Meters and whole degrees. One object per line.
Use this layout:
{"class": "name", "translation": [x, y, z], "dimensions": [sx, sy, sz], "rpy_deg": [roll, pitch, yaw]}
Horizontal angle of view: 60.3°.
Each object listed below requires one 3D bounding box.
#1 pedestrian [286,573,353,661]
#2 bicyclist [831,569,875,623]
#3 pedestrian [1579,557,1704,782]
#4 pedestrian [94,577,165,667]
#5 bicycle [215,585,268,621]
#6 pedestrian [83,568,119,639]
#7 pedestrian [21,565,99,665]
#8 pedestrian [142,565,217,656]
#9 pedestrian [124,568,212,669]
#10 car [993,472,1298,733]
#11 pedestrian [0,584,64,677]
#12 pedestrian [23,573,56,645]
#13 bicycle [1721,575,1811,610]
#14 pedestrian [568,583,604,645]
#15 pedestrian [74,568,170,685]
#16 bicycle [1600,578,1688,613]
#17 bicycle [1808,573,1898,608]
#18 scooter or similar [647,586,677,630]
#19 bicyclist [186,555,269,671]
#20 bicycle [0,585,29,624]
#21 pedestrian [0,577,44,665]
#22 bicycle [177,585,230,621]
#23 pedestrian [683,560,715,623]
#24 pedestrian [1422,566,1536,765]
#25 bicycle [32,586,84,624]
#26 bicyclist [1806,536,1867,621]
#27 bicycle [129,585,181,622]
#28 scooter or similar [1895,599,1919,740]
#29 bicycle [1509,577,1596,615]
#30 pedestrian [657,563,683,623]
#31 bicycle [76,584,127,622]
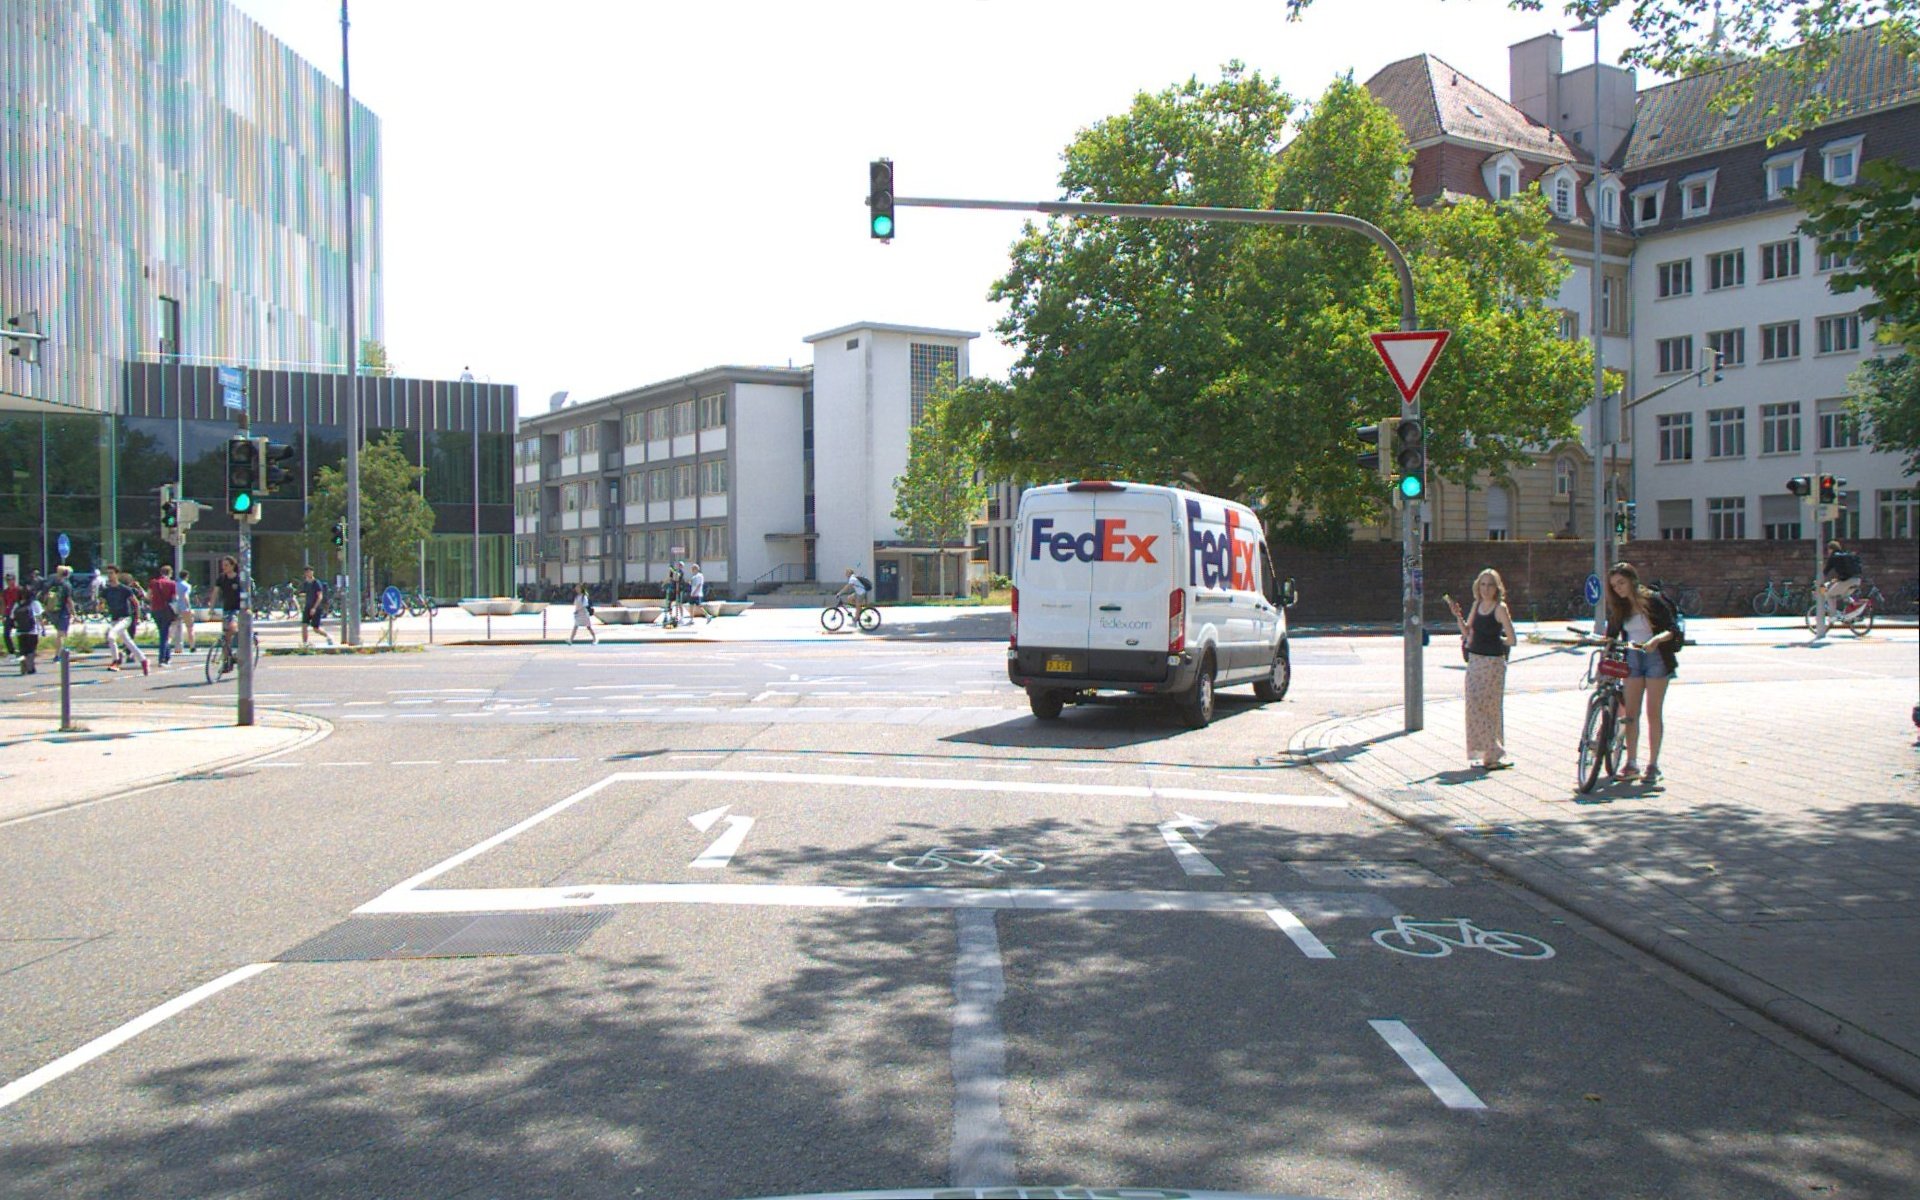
{"class": "pedestrian", "translation": [-14.061, 0.365, 36.324], "dimensions": [0.813, 1.903, 1.084], "rpy_deg": [-1, 1, 23]}
{"class": "bicyclist", "translation": [-3.052, -0.116, 47.154], "dimensions": [0.832, 1.493, 1.068], "rpy_deg": [-1, 1, 23]}
{"class": "pedestrian", "translation": [5.061, 0.508, 12.275], "dimensions": [0.711, 1.603, 0.732], "rpy_deg": [-3, -1, 28]}
{"class": "pedestrian", "translation": [-15.928, 0.418, 31.737], "dimensions": [0.808, 1.683, 0.862], "rpy_deg": [-1, 1, 17]}
{"class": "bicycle", "translation": [-26.174, 0.098, 60.239], "dimensions": [1.188, 1.259, 2.913], "rpy_deg": [0, 0, -36]}
{"class": "pedestrian", "translation": [-31.782, 0.123, 61.195], "dimensions": [0.968, 2.609, 0.999], "rpy_deg": [0, 0, -42]}
{"class": "pedestrian", "translation": [-17.560, 0.281, 32.283], "dimensions": [0.835, 1.909, 1.007], "rpy_deg": [-1, 1, 19]}
{"class": "pedestrian", "translation": [-16.169, 0.213, 34.264], "dimensions": [0.844, 1.850, 1.096], "rpy_deg": [-1, 1, 23]}
{"class": "pedestrian", "translation": [-14.839, 0.333, 31.015], "dimensions": [0.789, 1.839, 1.267], "rpy_deg": [-1, 1, 19]}
{"class": "car", "translation": [2.395, -0.079, 19.559], "dimensions": [2.053, 2.611, 5.601], "rpy_deg": [1, 2, 23]}
{"class": "pedestrian", "translation": [-16.572, 0.531, 29.436], "dimensions": [0.754, 1.625, 0.799], "rpy_deg": [-1, 0, 2]}
{"class": "pedestrian", "translation": [-33.628, 0.321, 60.437], "dimensions": [0.965, 2.609, 1.002], "rpy_deg": [0, 0, -36]}
{"class": "bicycle", "translation": [24.165, -0.237, 49.604], "dimensions": [2.333, 1.011, 0.753], "rpy_deg": [-1, 1, -4]}
{"class": "pedestrian", "translation": [-9.540, 0.356, 42.192], "dimensions": [0.812, 1.550, 0.810], "rpy_deg": [-1, 0, -19]}
{"class": "pedestrian", "translation": [-14.111, 0.422, 27.890], "dimensions": [0.687, 1.887, 1.400], "rpy_deg": [-1, 2, 9]}
{"class": "bicycle", "translation": [20.346, -0.141, 49.224], "dimensions": [2.333, 1.011, 0.753], "rpy_deg": [-1, 1, -4]}
{"class": "bicycle", "translation": [26.916, -0.288, 49.852], "dimensions": [2.333, 1.011, 0.753], "rpy_deg": [-1, 1, -4]}
{"class": "scooter or similar", "translation": [-8.689, 0.206, 48.140], "dimensions": [0.704, 1.198, 2.716], "rpy_deg": [-1, 1, -13]}
{"class": "bicyclist", "translation": [-11.946, 0.198, 26.992], "dimensions": [0.772, 1.849, 1.000], "rpy_deg": [-1, 1, 10]}
{"class": "bicycle", "translation": [-31.964, 0.129, 55.234], "dimensions": [1.188, 1.259, 2.913], "rpy_deg": [0, 0, -36]}
{"class": "pedestrian", "translation": [-18.653, 0.414, 32.590], "dimensions": [0.738, 1.707, 0.755], "rpy_deg": [-1, 0, 0]}
{"class": "bicycle", "translation": [-27.198, 0.084, 59.462], "dimensions": [1.188, 1.259, 2.913], "rpy_deg": [0, 0, -36]}
{"class": "pedestrian", "translation": [-8.007, -0.268, 50.713], "dimensions": [0.851, 1.922, 0.909], "rpy_deg": [-1, 0, -17]}
{"class": "pedestrian", "translation": [4.347, 0.532, 13.894], "dimensions": [0.715, 1.603, 0.776], "rpy_deg": [-2, 0, 5]}
{"class": "bicycle", "translation": [-30.710, 0.156, 56.297], "dimensions": [1.188, 1.259, 2.913], "rpy_deg": [0, 0, -36]}
{"class": "bicyclist", "translation": [17.914, -0.442, 33.816], "dimensions": [0.676, 1.701, 0.879], "rpy_deg": [-1, 1, -35]}
{"class": "bicycle", "translation": [-28.581, 0.108, 58.672], "dimensions": [1.188, 1.259, 2.913], "rpy_deg": [0, 0, -36]}
{"class": "scooter or similar", "translation": [8.383, 0.577, 14.277], "dimensions": [0.281, 1.166, 1.171], "rpy_deg": [-1, 1, 42]}
{"class": "bicycle", "translation": [17.573, -0.120, 49.070], "dimensions": [2.333, 1.077, 0.753], "rpy_deg": [-1, 1, -4]}
{"class": "pedestrian", "translation": [-8.959, -0.214, 51.010], "dimensions": [0.658, 1.846, 0.811], "rpy_deg": [-1, 0, -19]}
{"class": "bicycle", "translation": [-29.654, 0.098, 57.091], "dimensions": [1.187, 1.259, 2.915], "rpy_deg": [0, 0, -35]}
